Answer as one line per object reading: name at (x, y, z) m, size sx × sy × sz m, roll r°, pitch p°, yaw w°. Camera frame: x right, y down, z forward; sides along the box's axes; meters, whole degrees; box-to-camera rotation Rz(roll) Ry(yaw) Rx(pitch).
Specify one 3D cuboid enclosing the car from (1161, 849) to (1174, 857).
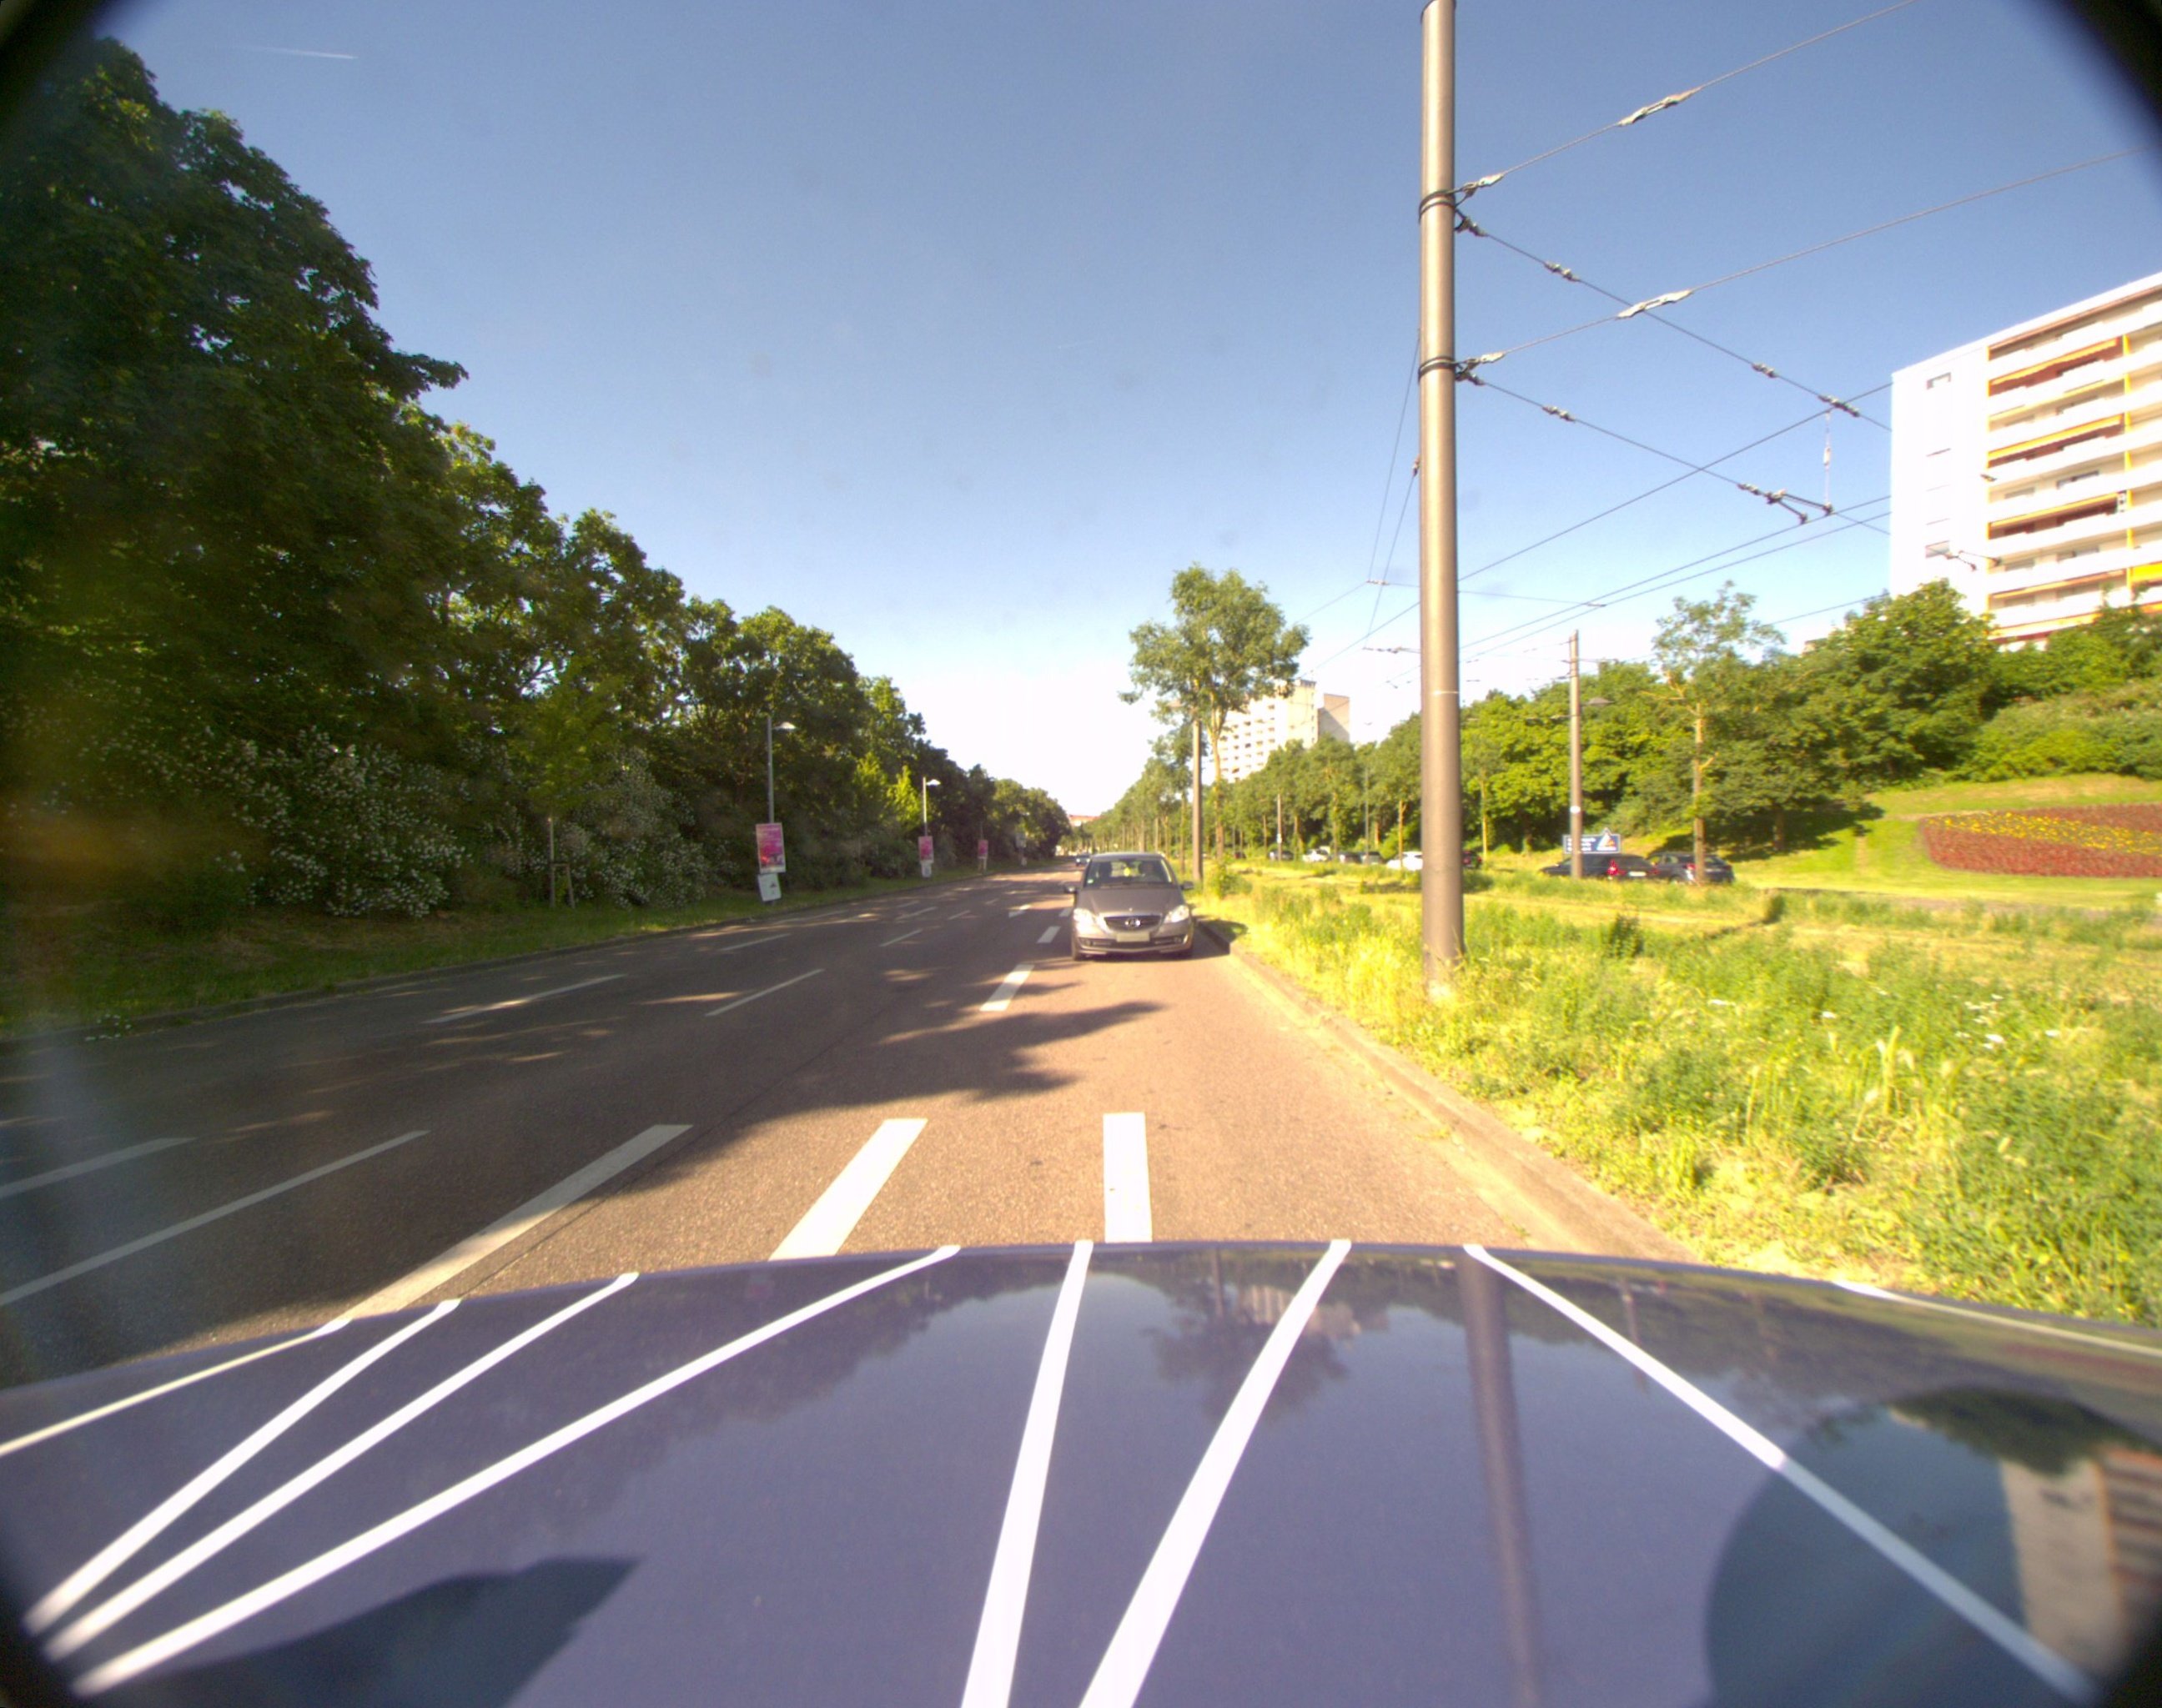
car at (18.248, -0.203, 160.022) m, size 1.910 × 1.652 × 3.997 m, roll -1°, pitch 0°, yaw -6°

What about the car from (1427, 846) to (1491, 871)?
car at (22.688, 0.262, 45.756) m, size 1.867 × 1.410 × 4.000 m, roll -1°, pitch 0°, yaw 1°

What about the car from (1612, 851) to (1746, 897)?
car at (21.843, 0.674, 27.998) m, size 1.792 × 1.499 × 4.241 m, roll -1°, pitch 0°, yaw 3°

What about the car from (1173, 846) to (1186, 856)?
car at (17.382, -0.528, 134.369) m, size 1.882 × 1.755 × 4.000 m, roll -1°, pitch 0°, yaw 1°

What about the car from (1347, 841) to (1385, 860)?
car at (22.784, -0.281, 60.810) m, size 1.740 × 1.368 × 4.001 m, roll -1°, pitch 0°, yaw 4°

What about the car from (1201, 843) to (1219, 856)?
car at (19.874, -0.692, 117.140) m, size 1.998 × 2.002 × 4.000 m, roll -1°, pitch 0°, yaw 1°

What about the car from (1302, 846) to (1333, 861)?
car at (23.109, -0.028, 74.386) m, size 1.847 × 1.390 × 4.000 m, roll -1°, pitch 0°, yaw 2°

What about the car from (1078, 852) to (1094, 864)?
car at (0.662, 0.468, 93.162) m, size 1.876 × 1.428 × 4.594 m, roll -1°, pitch 0°, yaw 2°

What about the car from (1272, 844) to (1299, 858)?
car at (23.340, -0.361, 86.835) m, size 1.998 × 1.477 × 4.000 m, roll -1°, pitch 0°, yaw 1°

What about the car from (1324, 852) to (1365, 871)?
car at (19.963, 0.548, 57.712) m, size 1.825 × 1.353 × 4.230 m, roll -1°, pitch 0°, yaw 3°

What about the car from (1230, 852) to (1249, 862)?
car at (22.182, 0.407, 106.492) m, size 1.802 × 1.455 × 4.000 m, roll -1°, pitch 0°, yaw 1°

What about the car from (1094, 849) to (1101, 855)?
car at (5.355, -0.624, 245.946) m, size 1.999 × 2.002 × 3.998 m, roll -1°, pitch 0°, yaw -3°

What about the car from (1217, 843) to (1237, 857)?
car at (19.338, -0.500, 100.663) m, size 1.882 × 1.755 × 4.000 m, roll -1°, pitch 0°, yaw 1°

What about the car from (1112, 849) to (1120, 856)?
car at (9.882, -0.378, 214.355) m, size 1.942 × 2.002 × 3.999 m, roll -1°, pitch 0°, yaw -2°

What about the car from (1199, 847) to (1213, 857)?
car at (21.911, -0.384, 133.584) m, size 1.882 × 1.755 × 4.000 m, roll -1°, pitch 0°, yaw 1°

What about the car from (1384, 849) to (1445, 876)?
car at (19.110, 0.462, 43.695) m, size 1.867 × 1.410 × 4.000 m, roll -1°, pitch 0°, yaw 3°

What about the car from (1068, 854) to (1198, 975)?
car at (0.735, 0.825, 12.303) m, size 1.759 × 1.612 × 3.880 m, roll -1°, pitch 0°, yaw 1°

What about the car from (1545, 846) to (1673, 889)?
car at (18.743, 0.441, 27.242) m, size 1.799 × 1.408 × 4.311 m, roll -1°, pitch 0°, yaw 4°

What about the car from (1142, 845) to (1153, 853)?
car at (16.267, -1.171, 185.210) m, size 1.883 × 1.755 × 3.997 m, roll -1°, pitch 0°, yaw -7°
